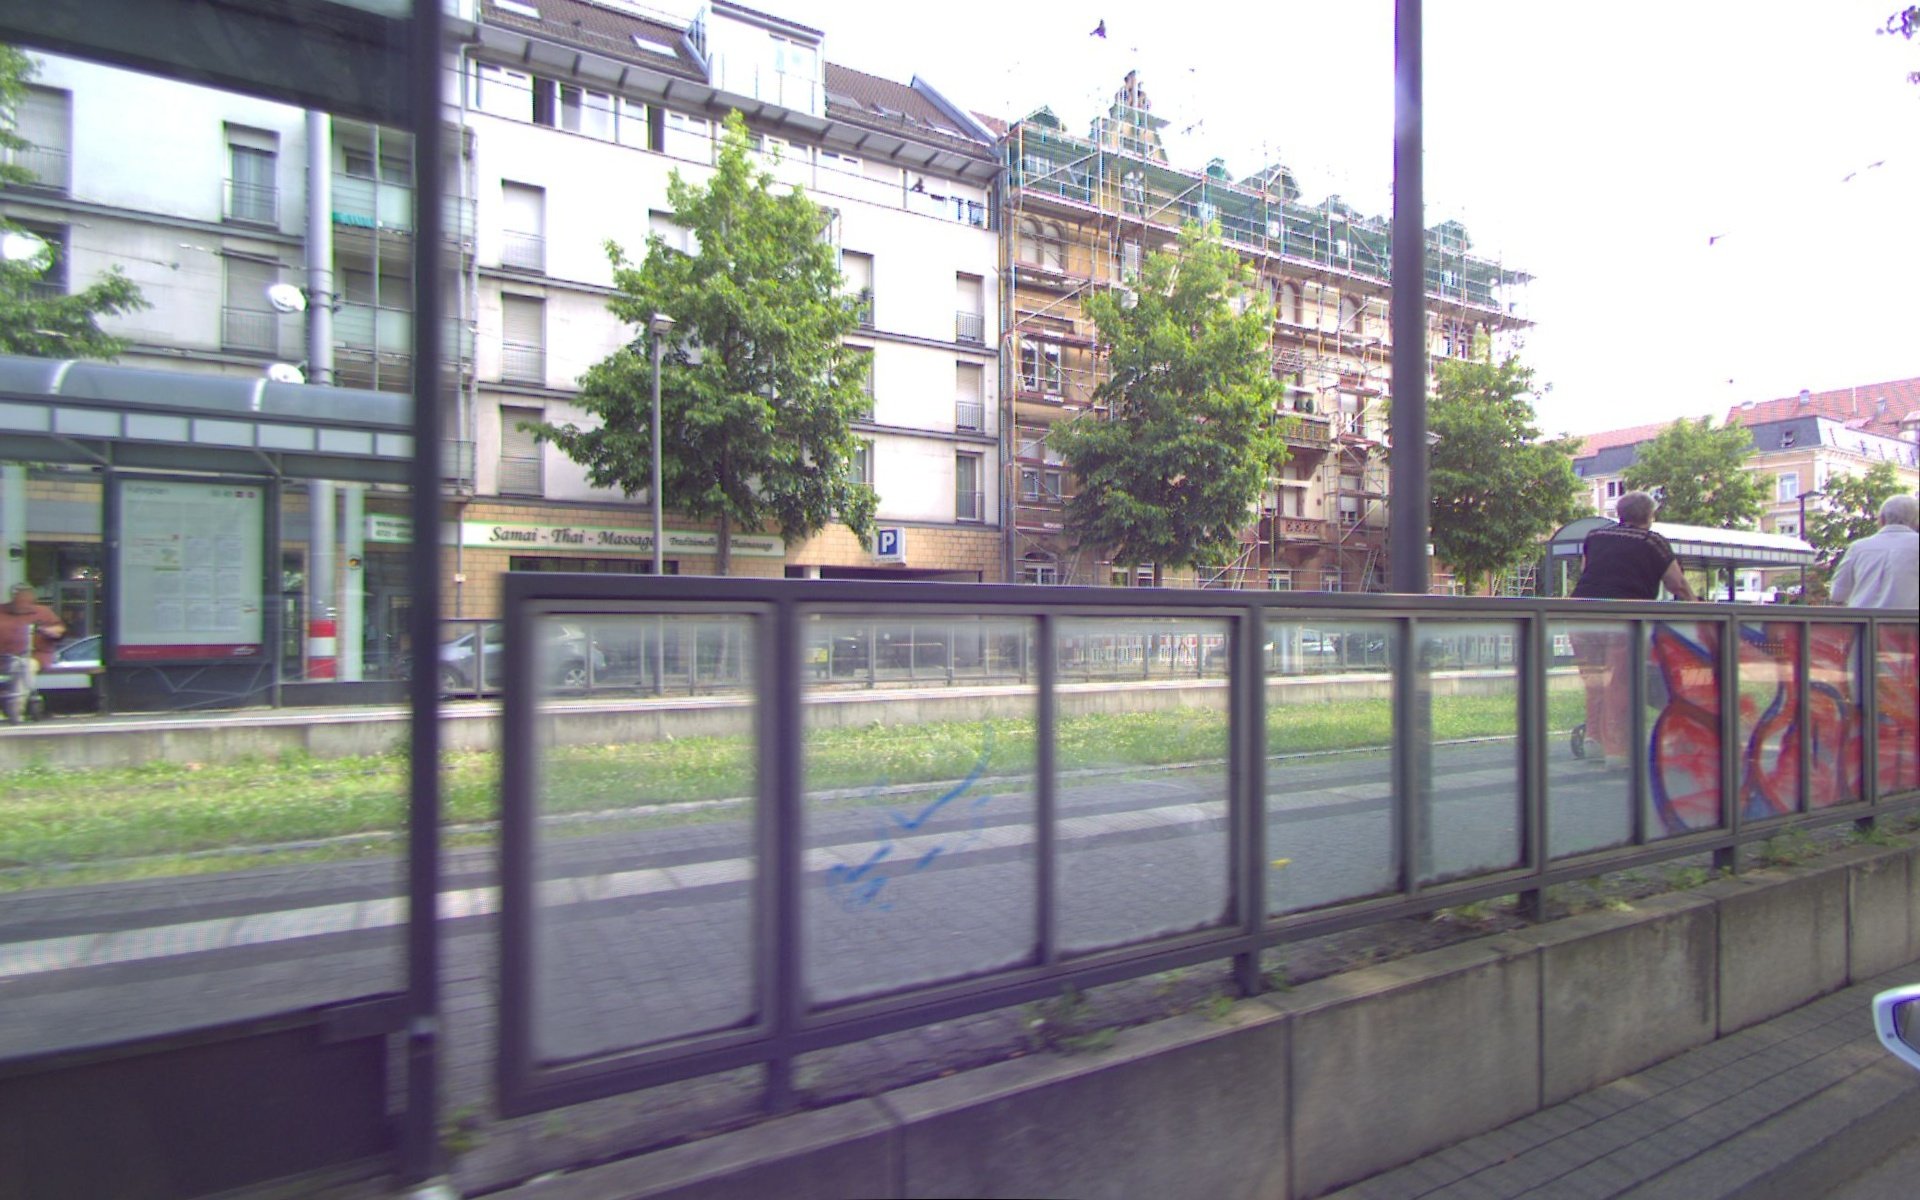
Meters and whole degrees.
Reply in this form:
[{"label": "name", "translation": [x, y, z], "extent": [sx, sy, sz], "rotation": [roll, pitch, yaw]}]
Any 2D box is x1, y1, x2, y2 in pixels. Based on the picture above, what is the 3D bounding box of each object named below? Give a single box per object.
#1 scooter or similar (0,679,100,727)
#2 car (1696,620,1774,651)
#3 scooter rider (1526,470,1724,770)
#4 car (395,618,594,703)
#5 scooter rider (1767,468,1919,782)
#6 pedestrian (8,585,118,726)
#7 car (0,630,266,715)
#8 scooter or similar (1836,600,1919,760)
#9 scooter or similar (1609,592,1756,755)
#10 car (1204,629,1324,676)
[{"label": "scooter or similar", "translation": [-7.931, 0.889, 8.740], "extent": [0.611, 0.371, 0.407], "rotation": [1, -3, -30]}, {"label": "car", "translation": [36.277, 1.632, 47.036], "extent": [3.435, 1.389, 1.711], "rotation": [1, -2, -30]}, {"label": "scooter rider", "translation": [3.962, 0.119, 5.994], "extent": [0.890, 1.635, 0.651], "rotation": [0, -1, -30]}, {"label": "car", "translation": [-9.702, 1.198, 20.985], "extent": [3.647, 1.630, 1.711], "rotation": [1, -2, -30]}, {"label": "scooter rider", "translation": [5.098, 0.138, 5.596], "extent": [0.890, 1.591, 0.651], "rotation": [0, -1, -30]}, {"label": "pedestrian", "translation": [-8.235, 0.504, 9.251], "extent": [0.611, 1.229, 0.661], "rotation": [1, -3, -30]}, {"label": "car", "translation": [-14.677, 1.235, 18.066], "extent": [3.435, 1.389, 1.711], "rotation": [1, -2, -30]}, {"label": "scooter or similar", "translation": [5.658, 0.462, 5.921], "extent": [0.384, 0.919, 0.651], "rotation": [0, -1, -30]}, {"label": "scooter or similar", "translation": [4.538, 0.444, 6.324], "extent": [0.416, 0.968, 0.629], "rotation": [0, -1, -30]}, {"label": "car", "translation": [9.485, 1.594, 31.339], "extent": [3.435, 1.389, 1.711], "rotation": [1, -2, -30]}]
